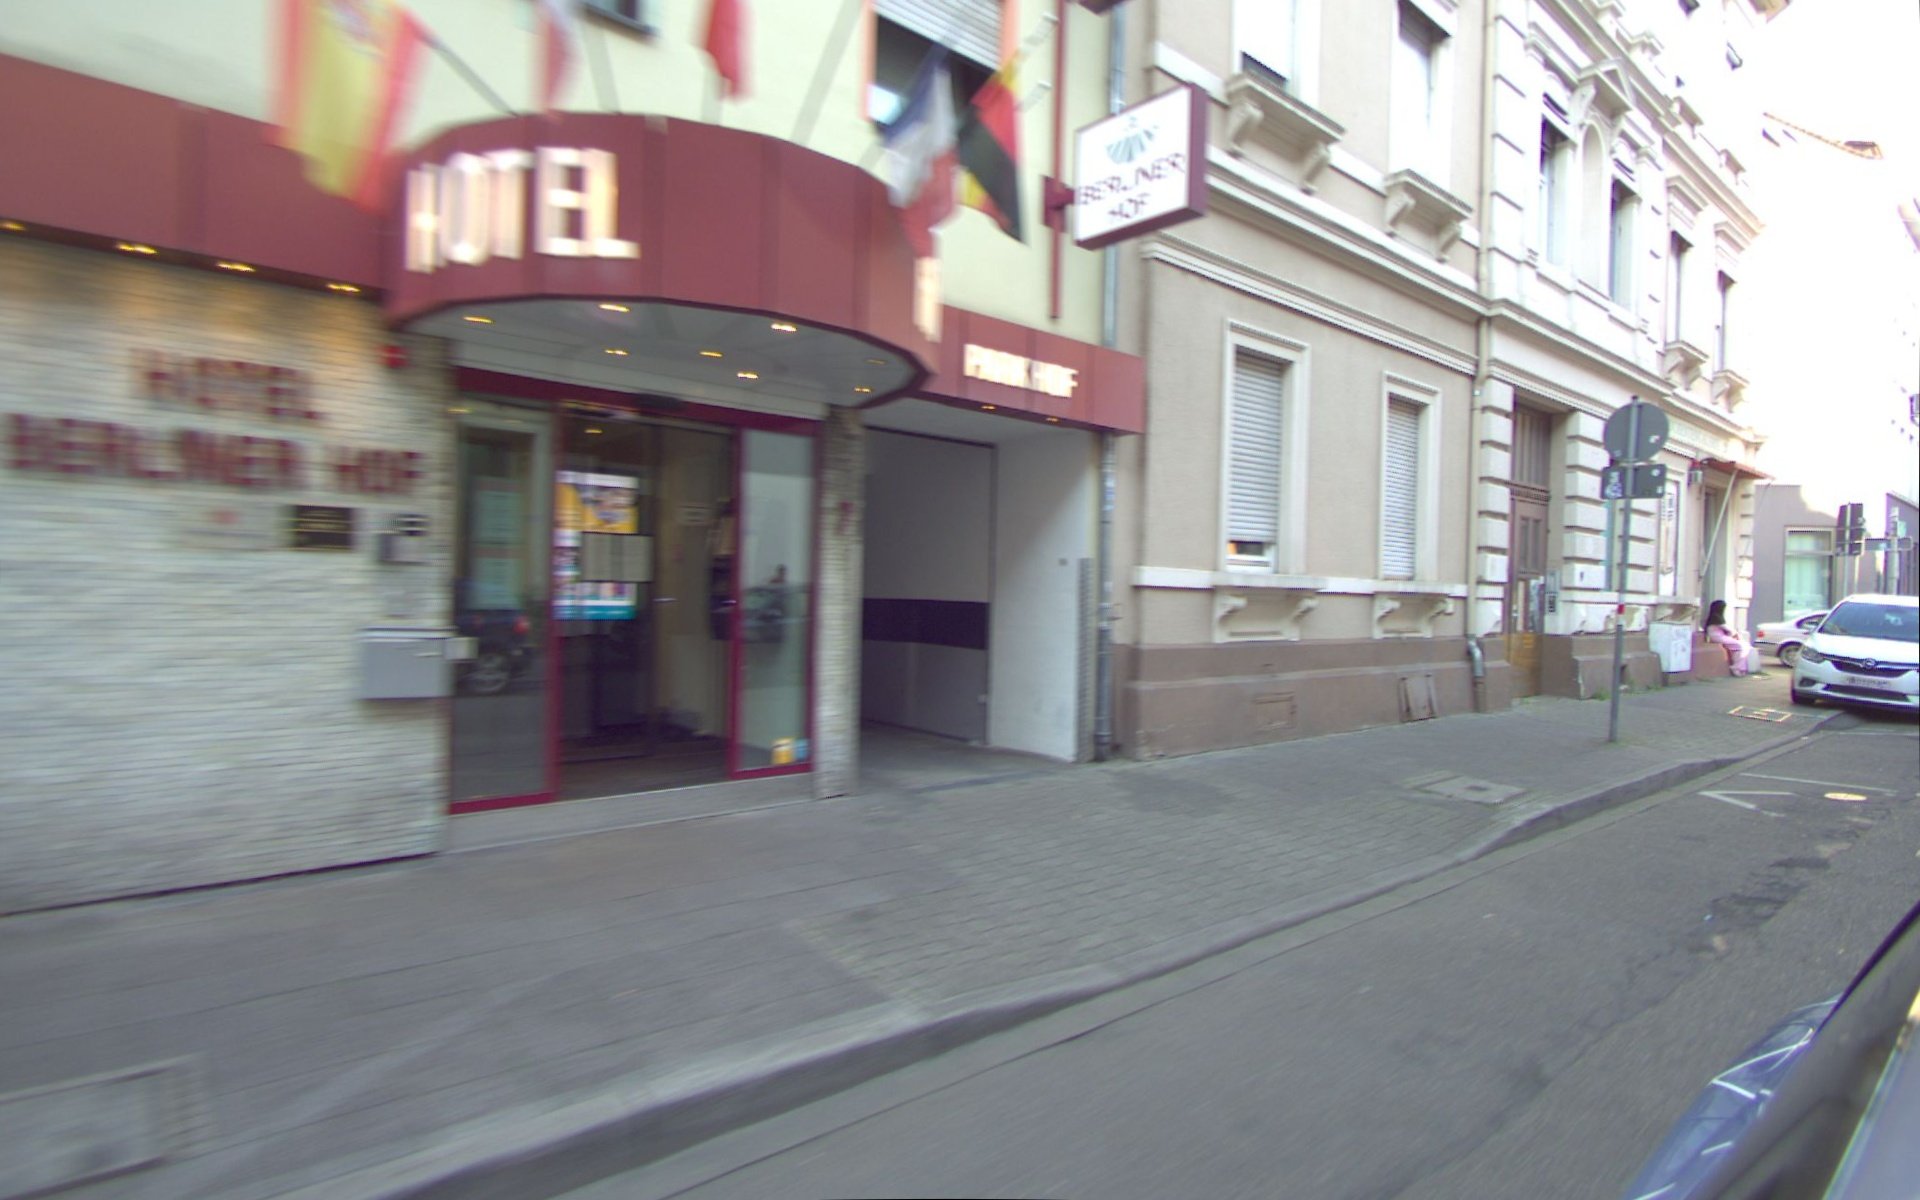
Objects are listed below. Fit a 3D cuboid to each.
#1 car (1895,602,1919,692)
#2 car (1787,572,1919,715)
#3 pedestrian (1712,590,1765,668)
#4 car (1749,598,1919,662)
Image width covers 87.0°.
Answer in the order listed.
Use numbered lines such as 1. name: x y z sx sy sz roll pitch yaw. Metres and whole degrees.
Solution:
1. car: 17.800 0.809 17.587 3.904 1.497 1.729 1 0 -39
2. car: 13.693 0.587 14.530 4.279 1.715 1.843 1 5 -39
3. pedestrian: 14.826 0.546 19.283 0.475 1.441 0.696 1 0 -38
4. car: 21.629 0.674 23.904 1.651 1.421 4.470 1 0 -36
